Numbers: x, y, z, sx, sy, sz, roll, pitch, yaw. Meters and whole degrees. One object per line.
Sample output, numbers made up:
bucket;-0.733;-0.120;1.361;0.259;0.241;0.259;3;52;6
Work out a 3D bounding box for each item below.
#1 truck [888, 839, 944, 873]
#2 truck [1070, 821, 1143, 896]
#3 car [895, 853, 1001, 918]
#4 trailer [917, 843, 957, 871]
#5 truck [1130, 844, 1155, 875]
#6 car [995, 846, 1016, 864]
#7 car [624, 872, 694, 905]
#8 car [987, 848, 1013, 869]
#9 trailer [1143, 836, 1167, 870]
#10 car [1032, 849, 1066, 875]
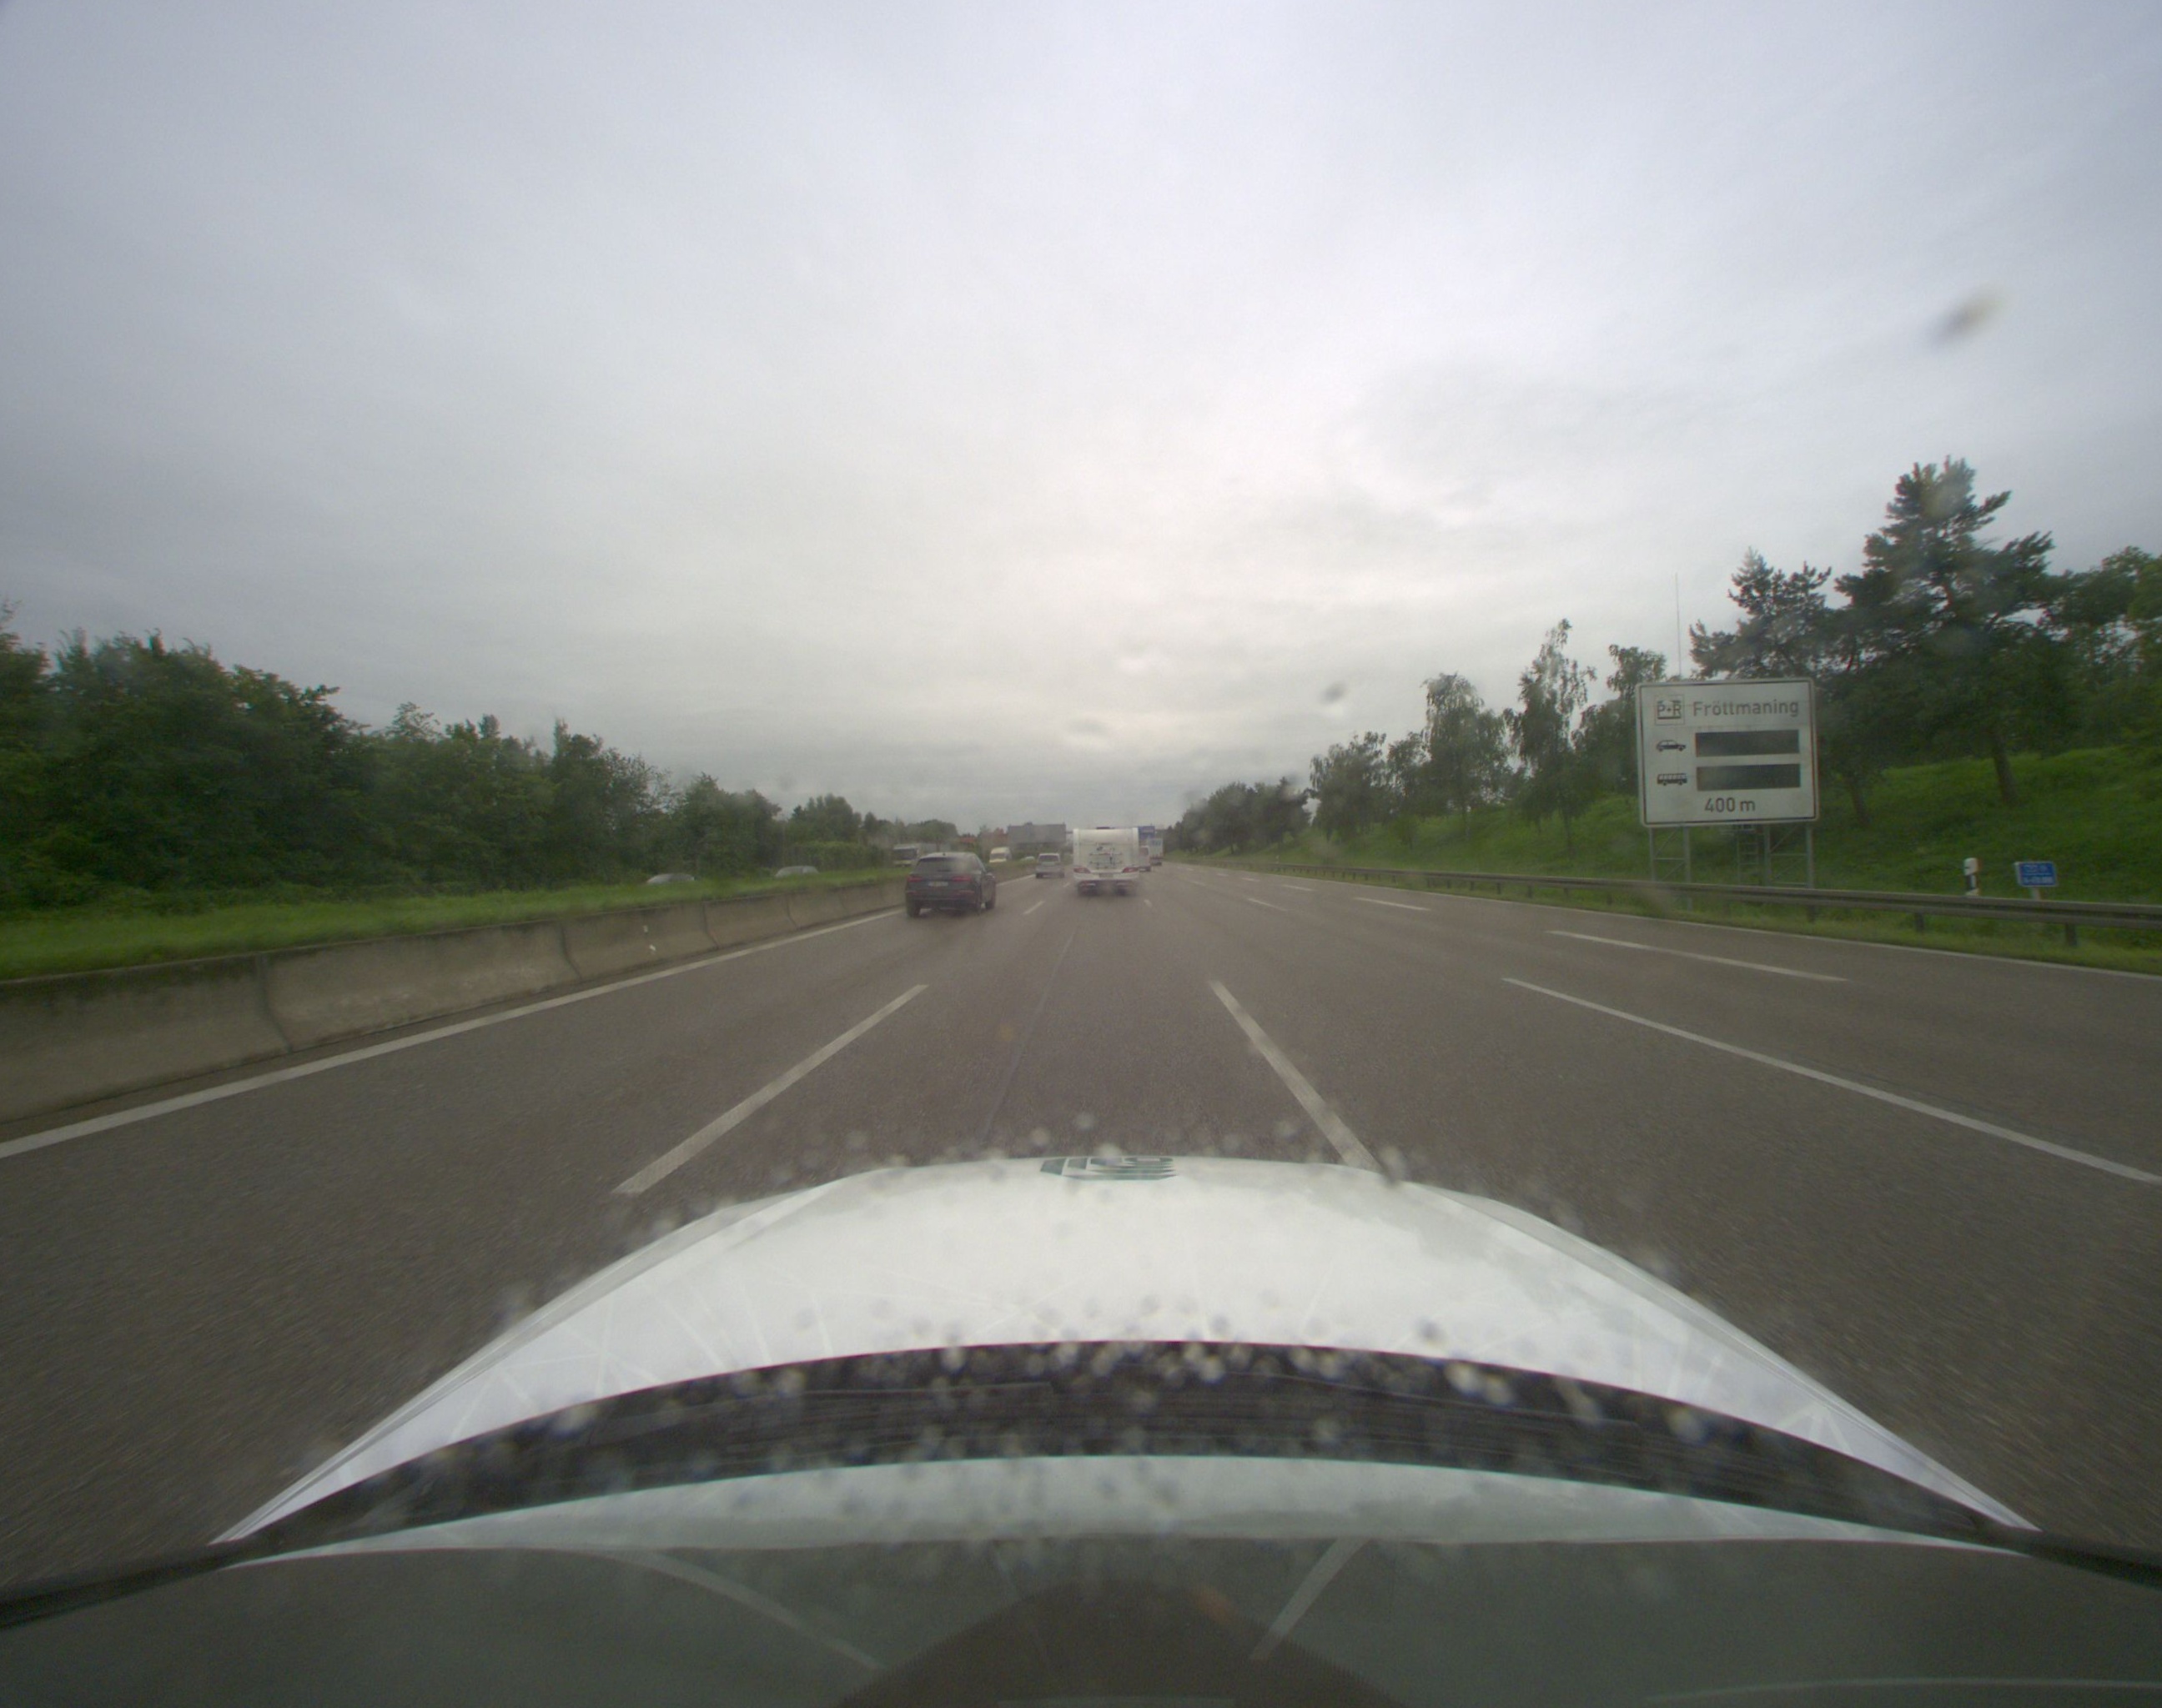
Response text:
truck;-16.819;0.255;83.880;2.872;3.221;11.365;0;0;3
truck;0.999;0.189;32.406;2.651;2.742;5.078;0;0;1
car;-3.510;0.794;22.534;1.986;1.600;5.124;0;0;1
trailer;-16.448;0.320;93.523;2.766;3.077;7.877;0;0;2
truck;5.763;0.504;77.187;2.046;2.770;5.550;0;0;1
car;-11.657;0.139;126.363;2.312;2.734;7.320;0;0;2
car;-24.992;2.005;48.380;1.987;1.794;4.000;0;0;1
car;-9.446;0.577;95.680;2.051;2.385;7.325;0;0;2
trailer;11.126;-0.122;122.939;3.087;4.922;11.798;0;0;3
car;-2.177;0.560;57.165;2.120;1.706;4.114;-1;0;1
